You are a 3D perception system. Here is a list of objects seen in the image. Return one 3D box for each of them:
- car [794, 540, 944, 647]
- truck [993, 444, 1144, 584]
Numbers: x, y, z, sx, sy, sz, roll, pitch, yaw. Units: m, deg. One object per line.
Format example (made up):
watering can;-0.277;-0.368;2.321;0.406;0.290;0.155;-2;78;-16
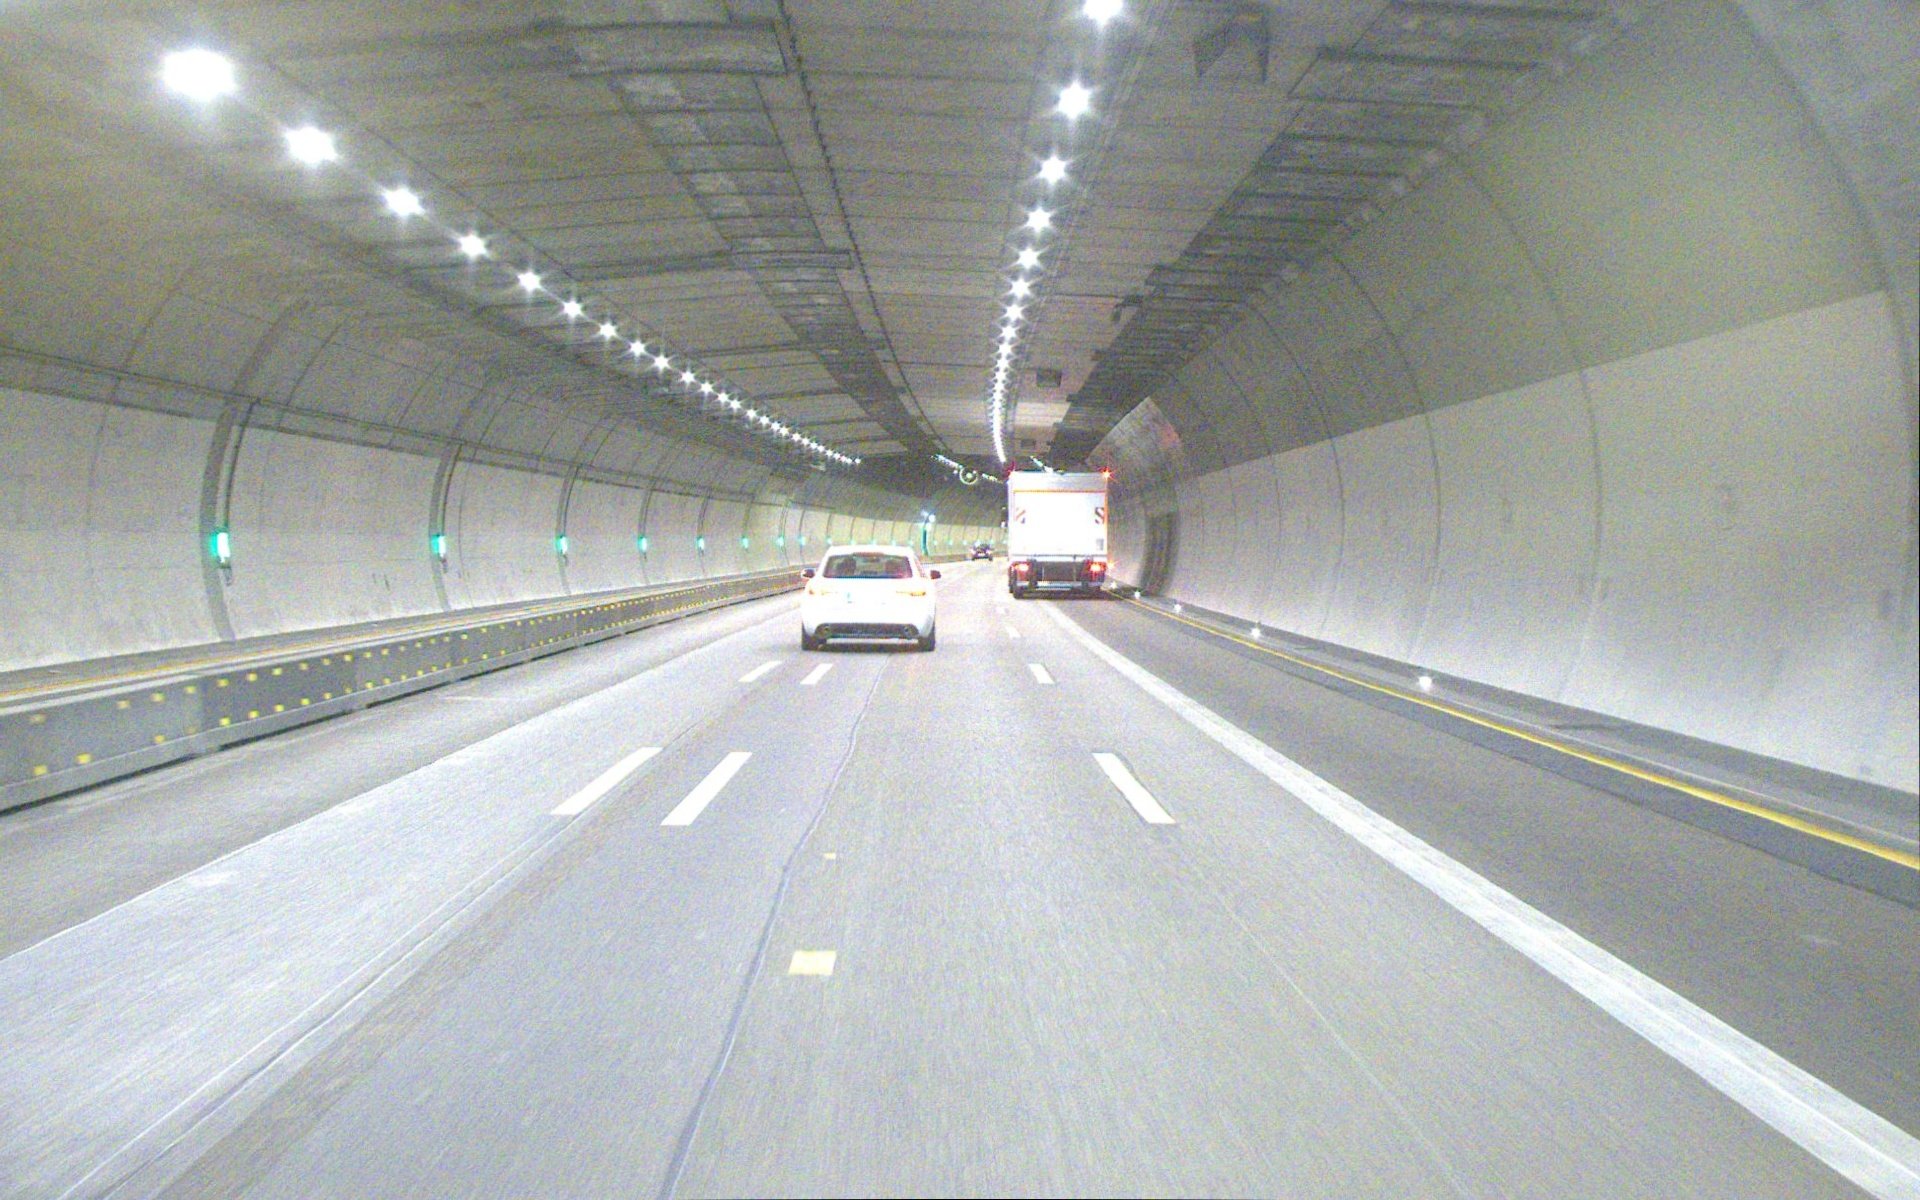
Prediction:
car;-1.271;-0.133;48.583;1.993;1.408;4.743;1;1;-1
truck;2.910;-2.369;95.914;3.592;3.638;10.723;1;1;-1
